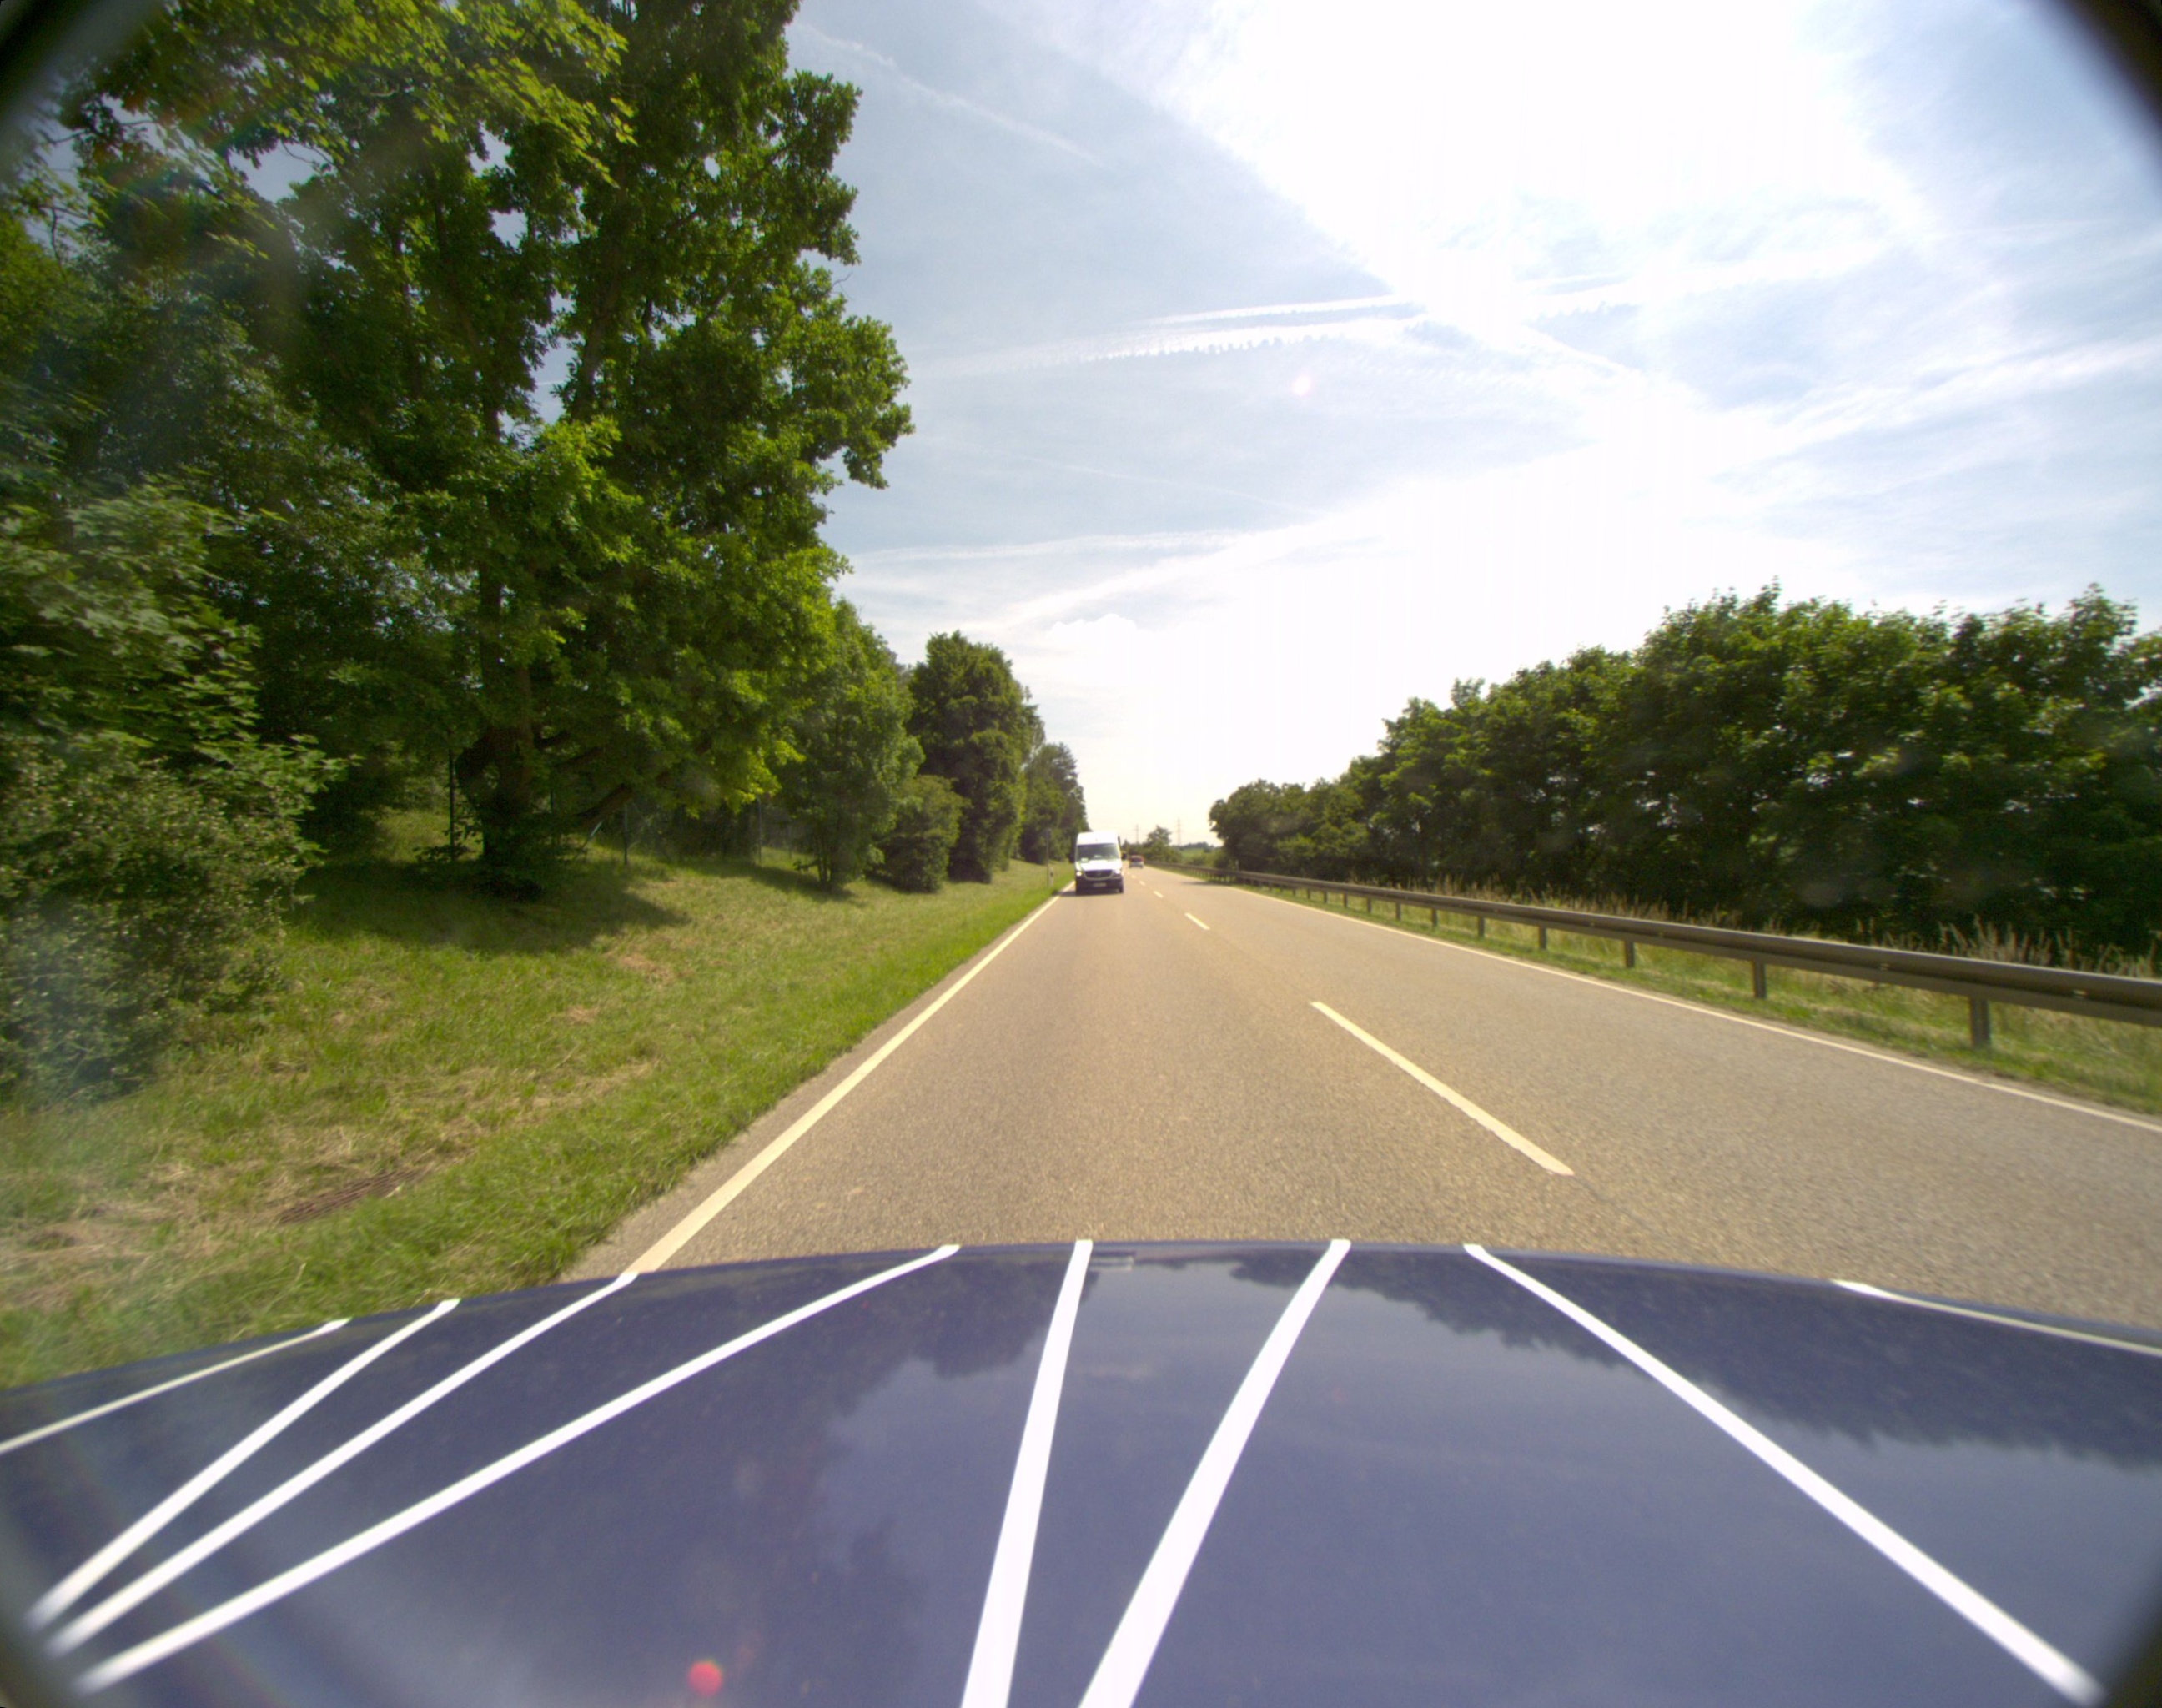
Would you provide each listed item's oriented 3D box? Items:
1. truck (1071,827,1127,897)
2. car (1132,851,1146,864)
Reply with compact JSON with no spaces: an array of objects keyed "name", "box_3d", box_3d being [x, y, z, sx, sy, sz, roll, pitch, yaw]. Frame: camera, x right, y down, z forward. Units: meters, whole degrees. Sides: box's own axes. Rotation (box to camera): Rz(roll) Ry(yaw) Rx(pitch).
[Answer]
[{"name":"truck","box_3d":[0.819,0.302,32.042,2.022,2.567,7.226,-2,0,2]},{"name":"car","box_3d":[7.197,0.436,94.416,1.561,1.454,3.550,1,0,3]}]
